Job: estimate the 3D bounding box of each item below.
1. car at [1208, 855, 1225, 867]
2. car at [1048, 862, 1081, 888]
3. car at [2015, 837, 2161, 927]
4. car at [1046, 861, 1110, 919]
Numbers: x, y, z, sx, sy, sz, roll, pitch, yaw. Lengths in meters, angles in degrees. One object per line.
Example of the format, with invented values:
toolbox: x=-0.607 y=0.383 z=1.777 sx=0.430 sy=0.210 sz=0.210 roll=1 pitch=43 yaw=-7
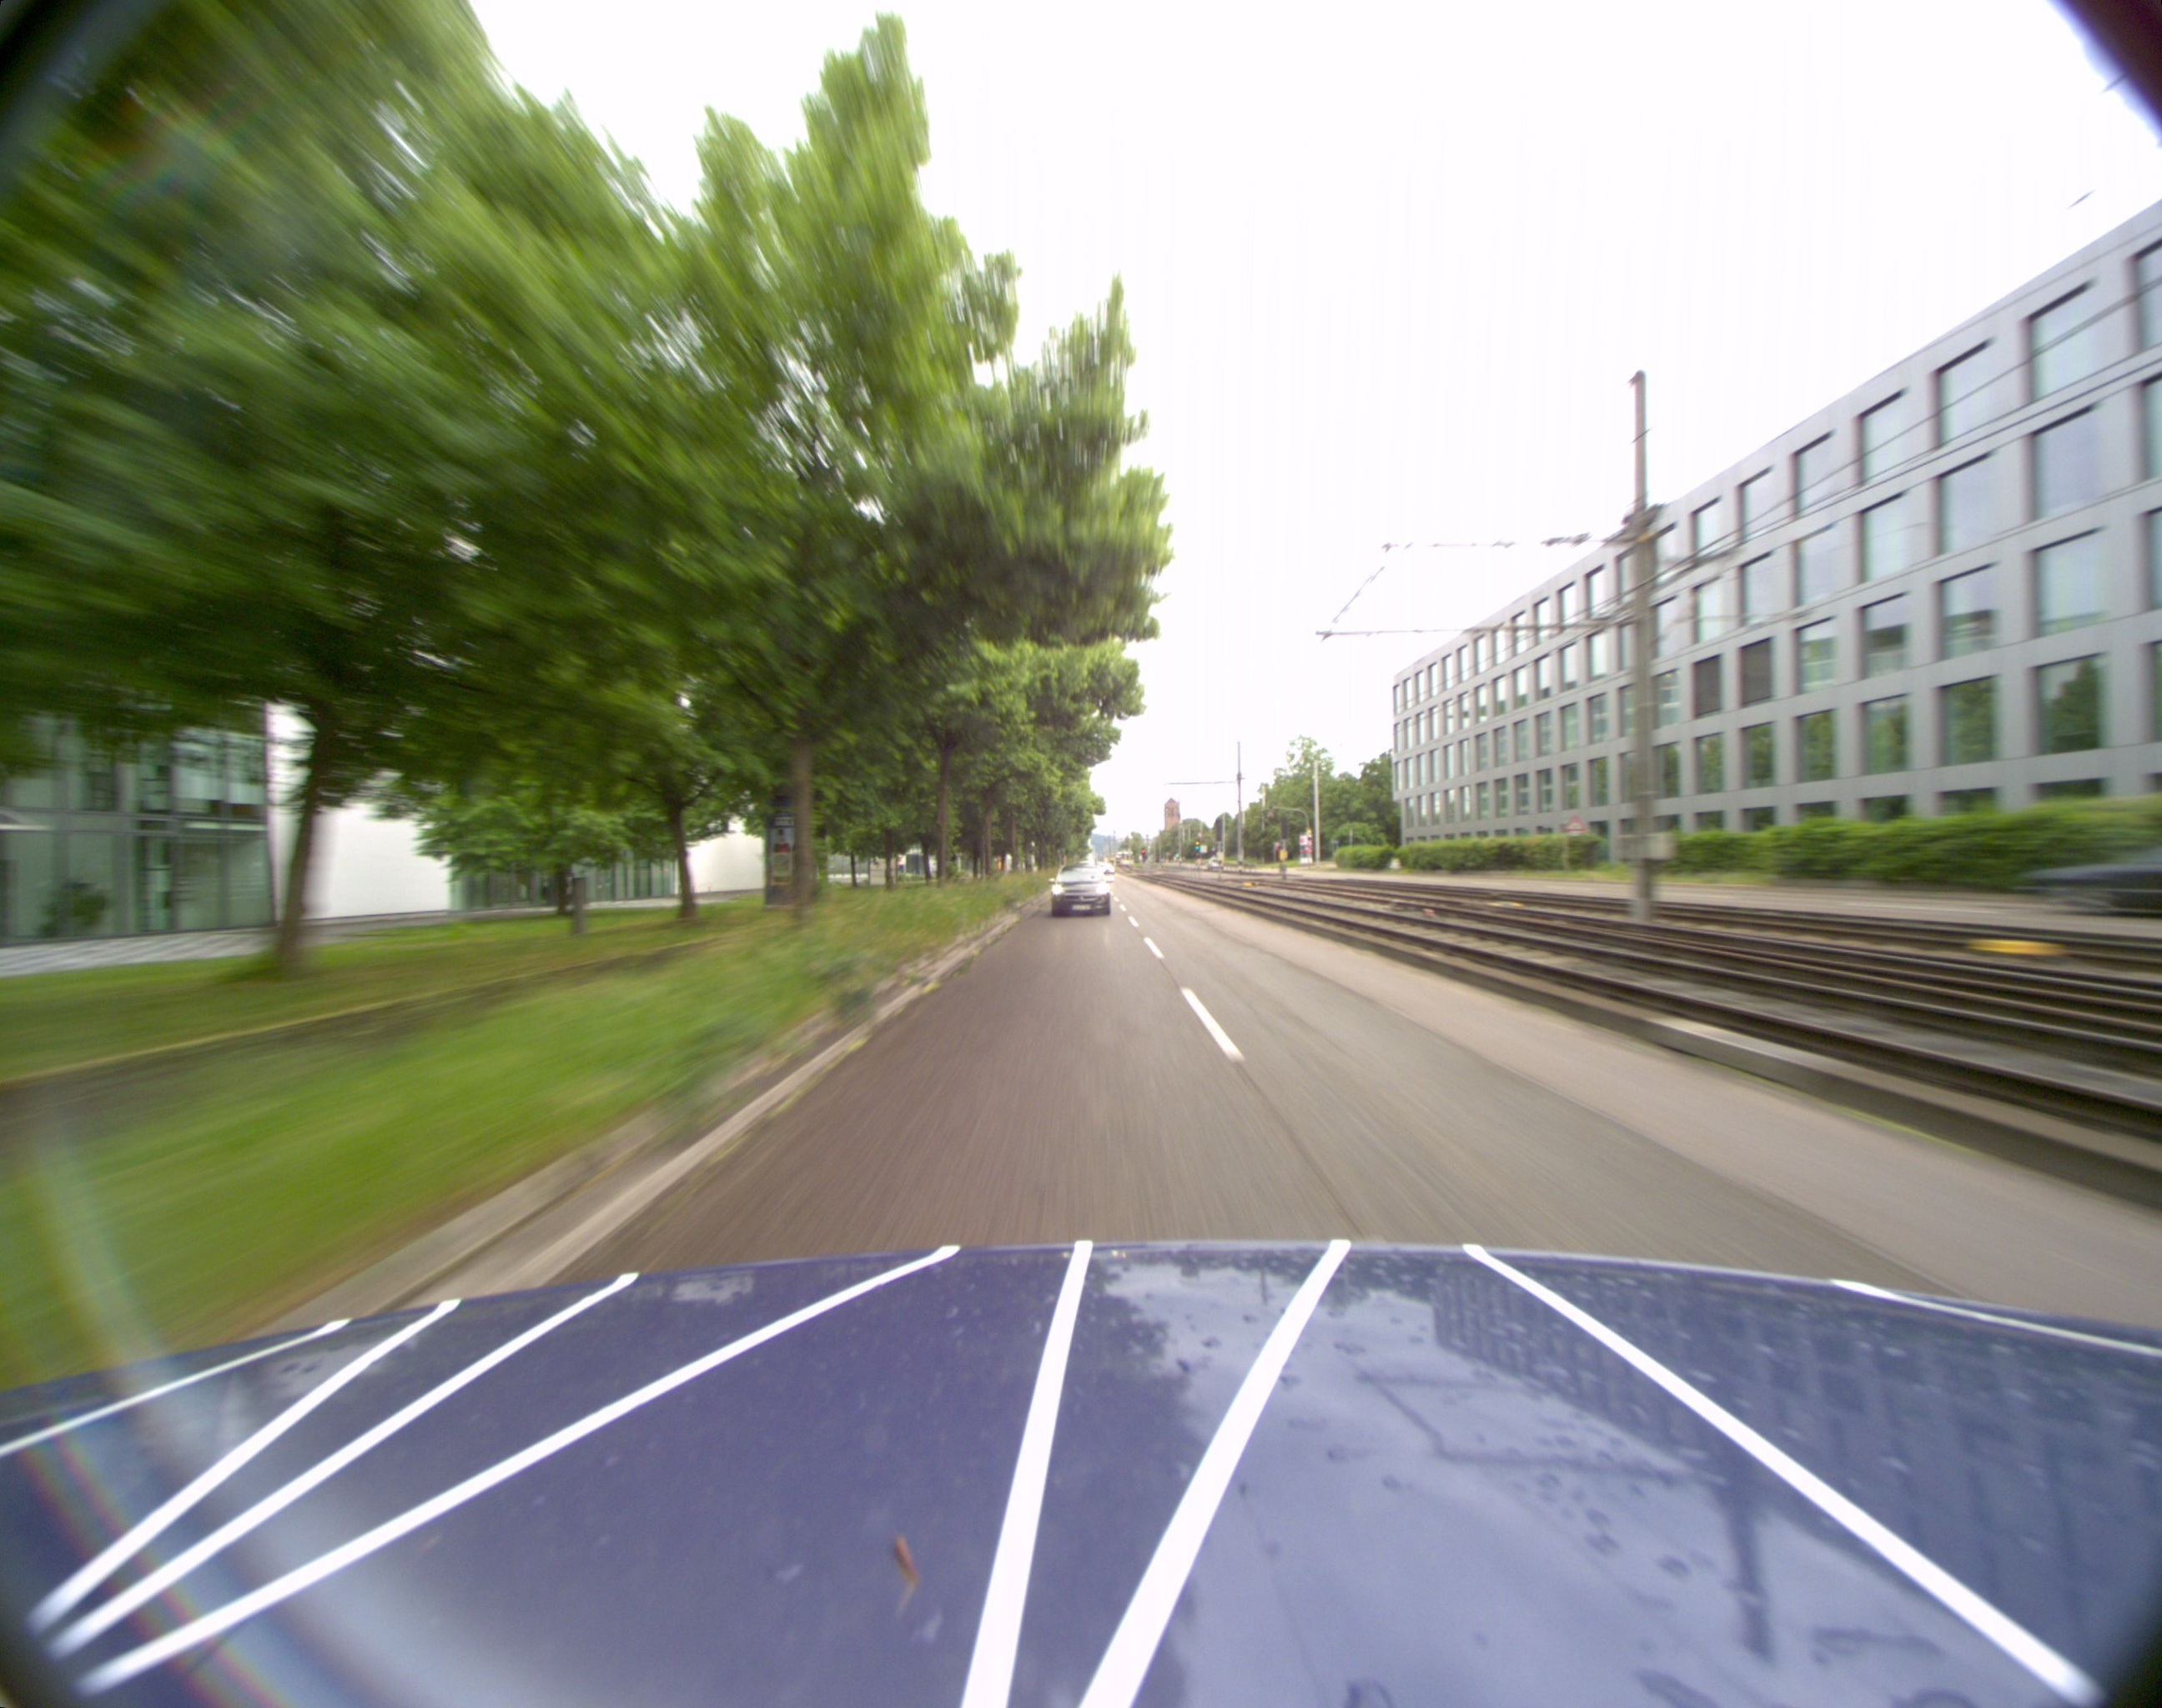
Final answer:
car: x=19.706 y=1.008 z=110.502 sx=1.812 sy=1.627 sz=3.564 roll=-2 pitch=0 yaw=1
car: x=-0.956 y=1.233 z=45.931 sx=1.770 sy=1.439 sz=3.833 roll=-2 pitch=0 yaw=1
car: x=18.583 y=0.447 z=11.891 sx=1.910 sy=1.443 sz=4.924 roll=-2 pitch=0 yaw=1
car: x=-0.012 y=1.036 z=23.378 sx=1.698 sy=1.439 sz=4.420 roll=-3 pitch=1 yaw=2
